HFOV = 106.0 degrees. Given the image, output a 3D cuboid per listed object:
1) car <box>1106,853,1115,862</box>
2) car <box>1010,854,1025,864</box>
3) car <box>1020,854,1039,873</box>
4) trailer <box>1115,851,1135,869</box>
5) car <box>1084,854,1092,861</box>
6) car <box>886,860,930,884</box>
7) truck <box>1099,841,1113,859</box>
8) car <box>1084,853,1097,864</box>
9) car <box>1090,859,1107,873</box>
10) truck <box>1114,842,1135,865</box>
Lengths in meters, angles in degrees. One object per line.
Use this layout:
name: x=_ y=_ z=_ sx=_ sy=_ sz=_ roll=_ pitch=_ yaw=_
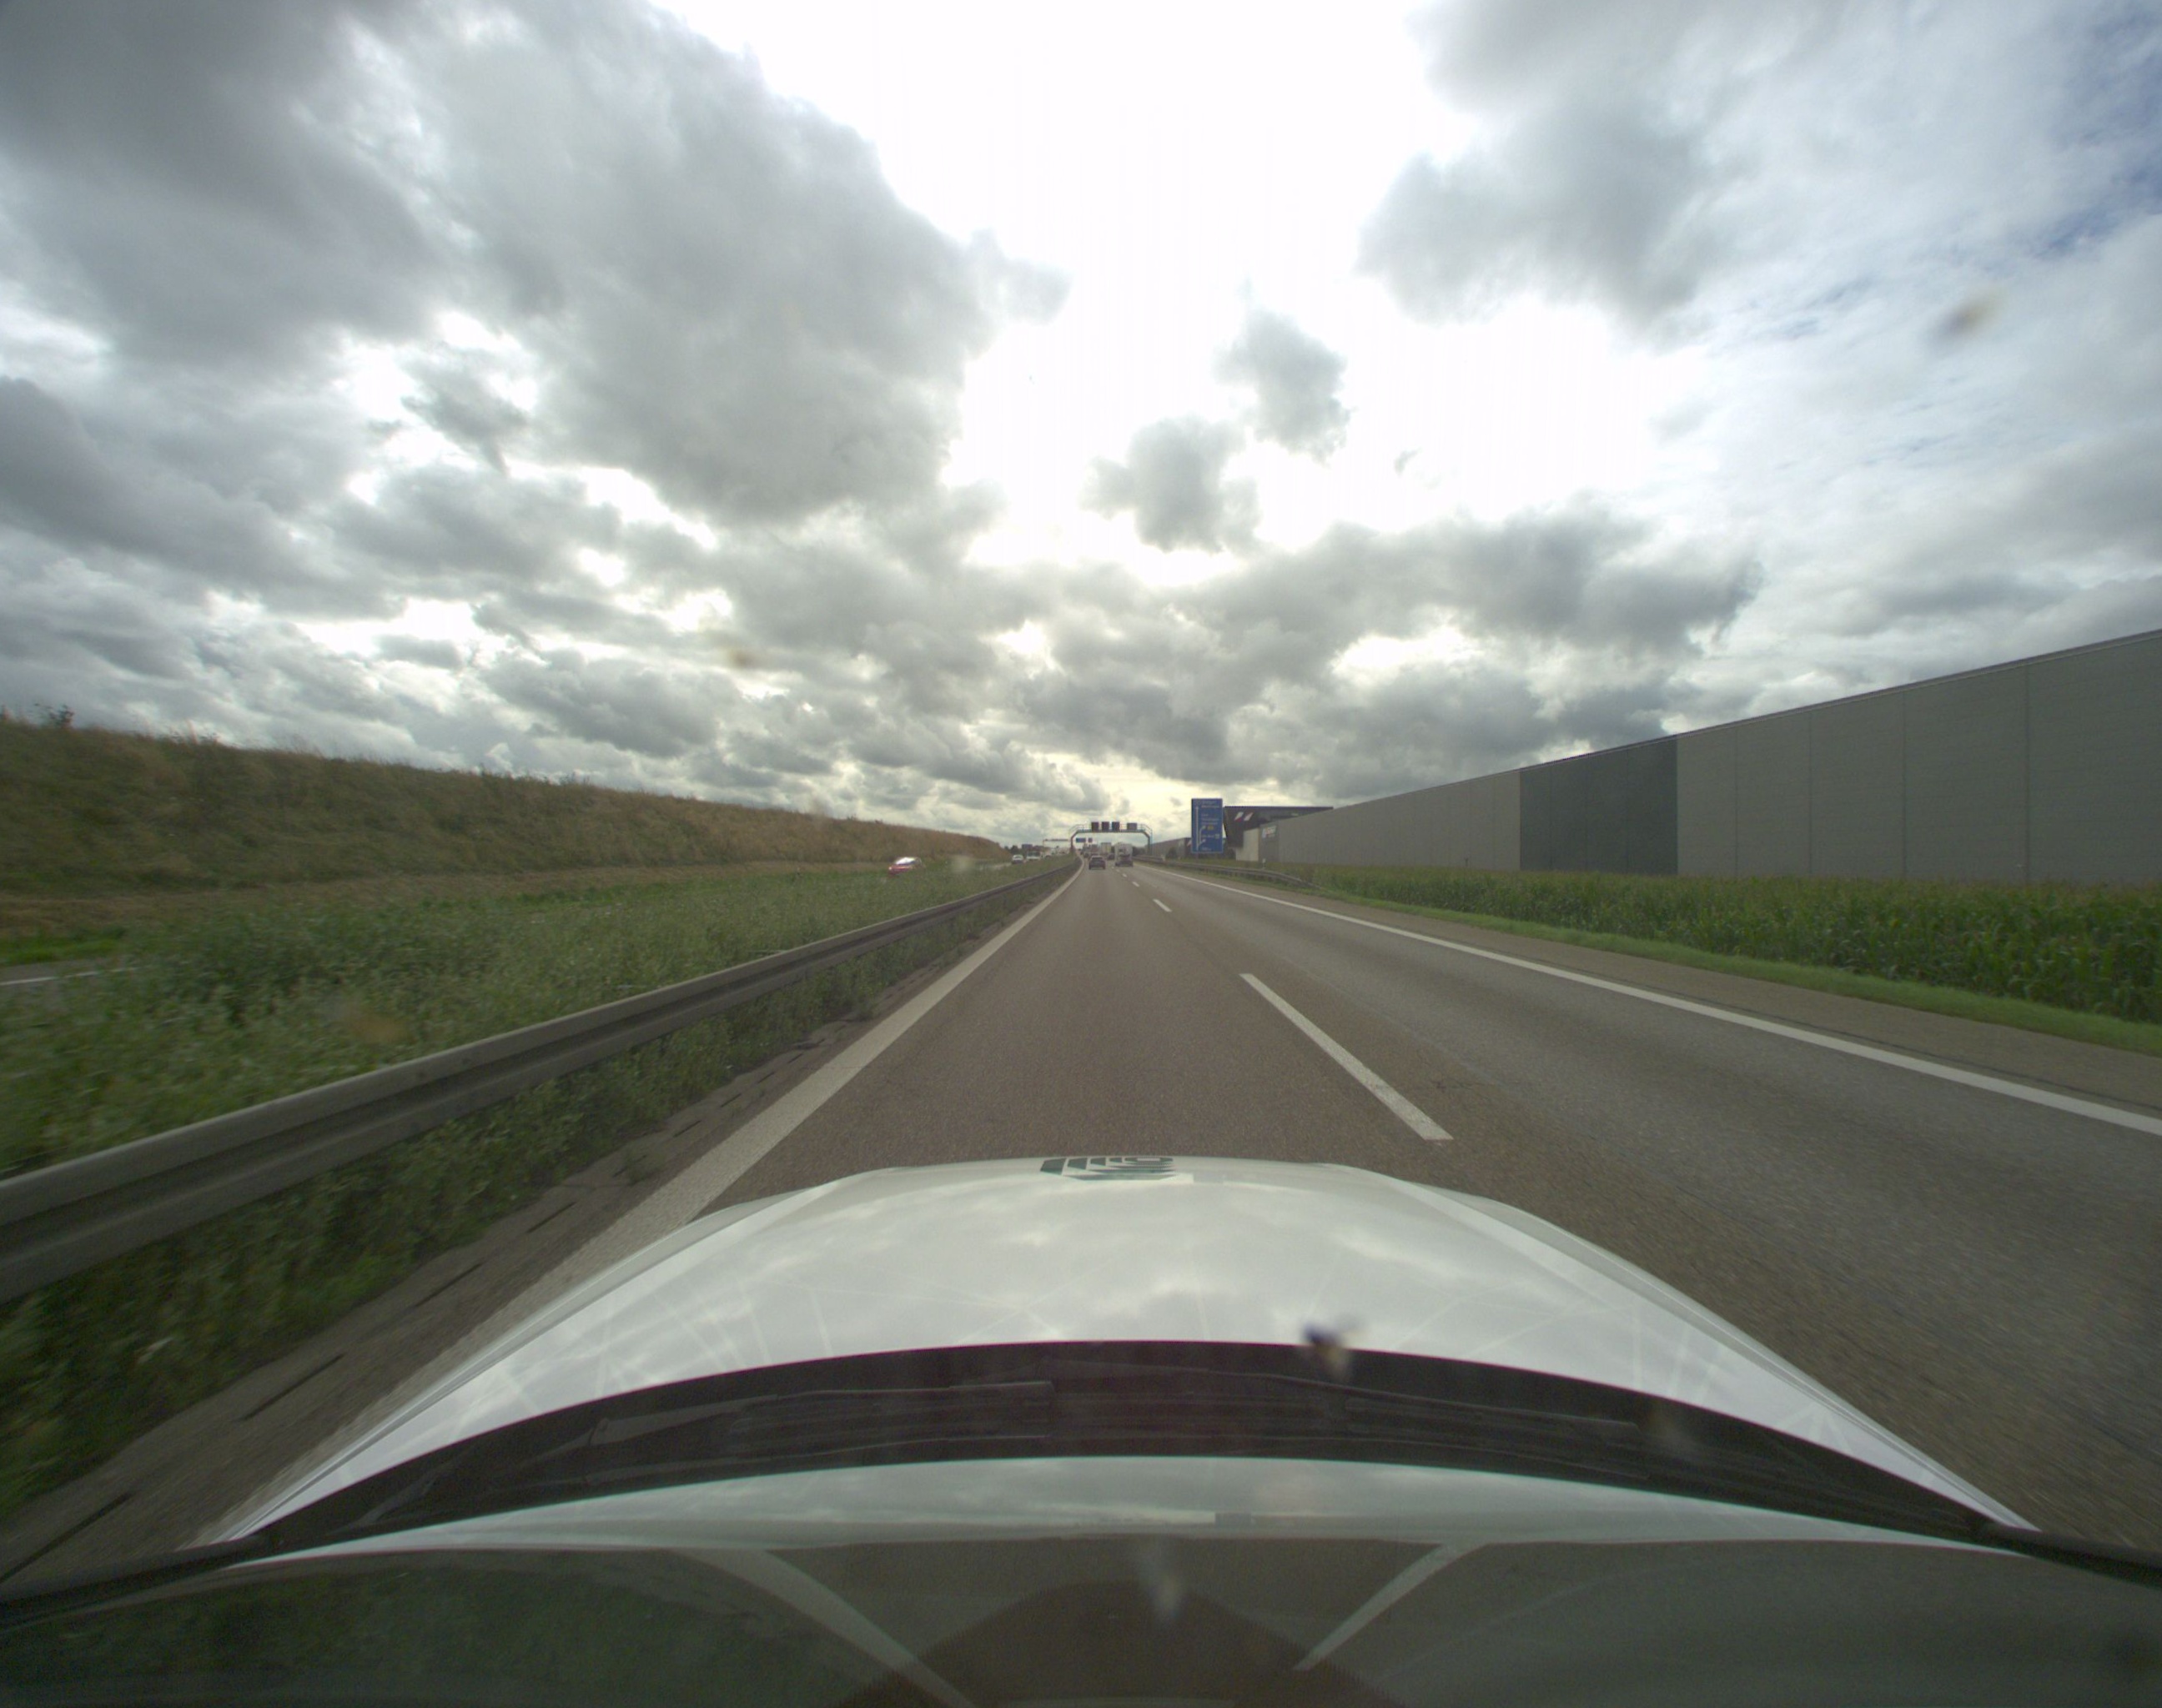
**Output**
car: x=5.897 y=0.732 z=163.778 sx=1.794 sy=1.685 sz=4.001 roll=0 pitch=-1 yaw=2
car: x=-9.276 y=0.764 z=119.944 sx=1.766 sy=1.454 sz=4.001 roll=0 pitch=-1 yaw=2
car: x=-6.602 y=1.231 z=104.742 sx=1.987 sy=2.348 sz=5.871 roll=0 pitch=-1 yaw=1
trailer: x=5.356 y=0.754 z=99.918 sx=2.329 sy=2.136 sz=4.002 roll=0 pitch=-1 yaw=2
car: x=1.764 y=0.905 z=213.282 sx=1.936 sy=1.775 sz=3.697 roll=0 pitch=-1 yaw=2
car: x=-10.701 y=1.097 z=50.623 sx=1.717 sy=1.403 sz=4.344 roll=0 pitch=-1 yaw=2
truck: x=6.289 y=-0.898 z=208.446 sx=3.328 sy=4.534 sz=8.015 roll=0 pitch=-1 yaw=0
car: x=1.623 y=0.758 z=137.513 sx=1.938 sy=1.685 sz=4.002 roll=0 pitch=-1 yaw=2
car: x=1.907 y=1.297 z=87.914 sx=1.739 sy=1.453 sz=4.002 roll=0 pitch=-1 yaw=2
truck: x=5.673 y=-0.059 z=107.774 sx=2.474 sy=2.950 sz=5.813 roll=0 pitch=-1 yaw=0
